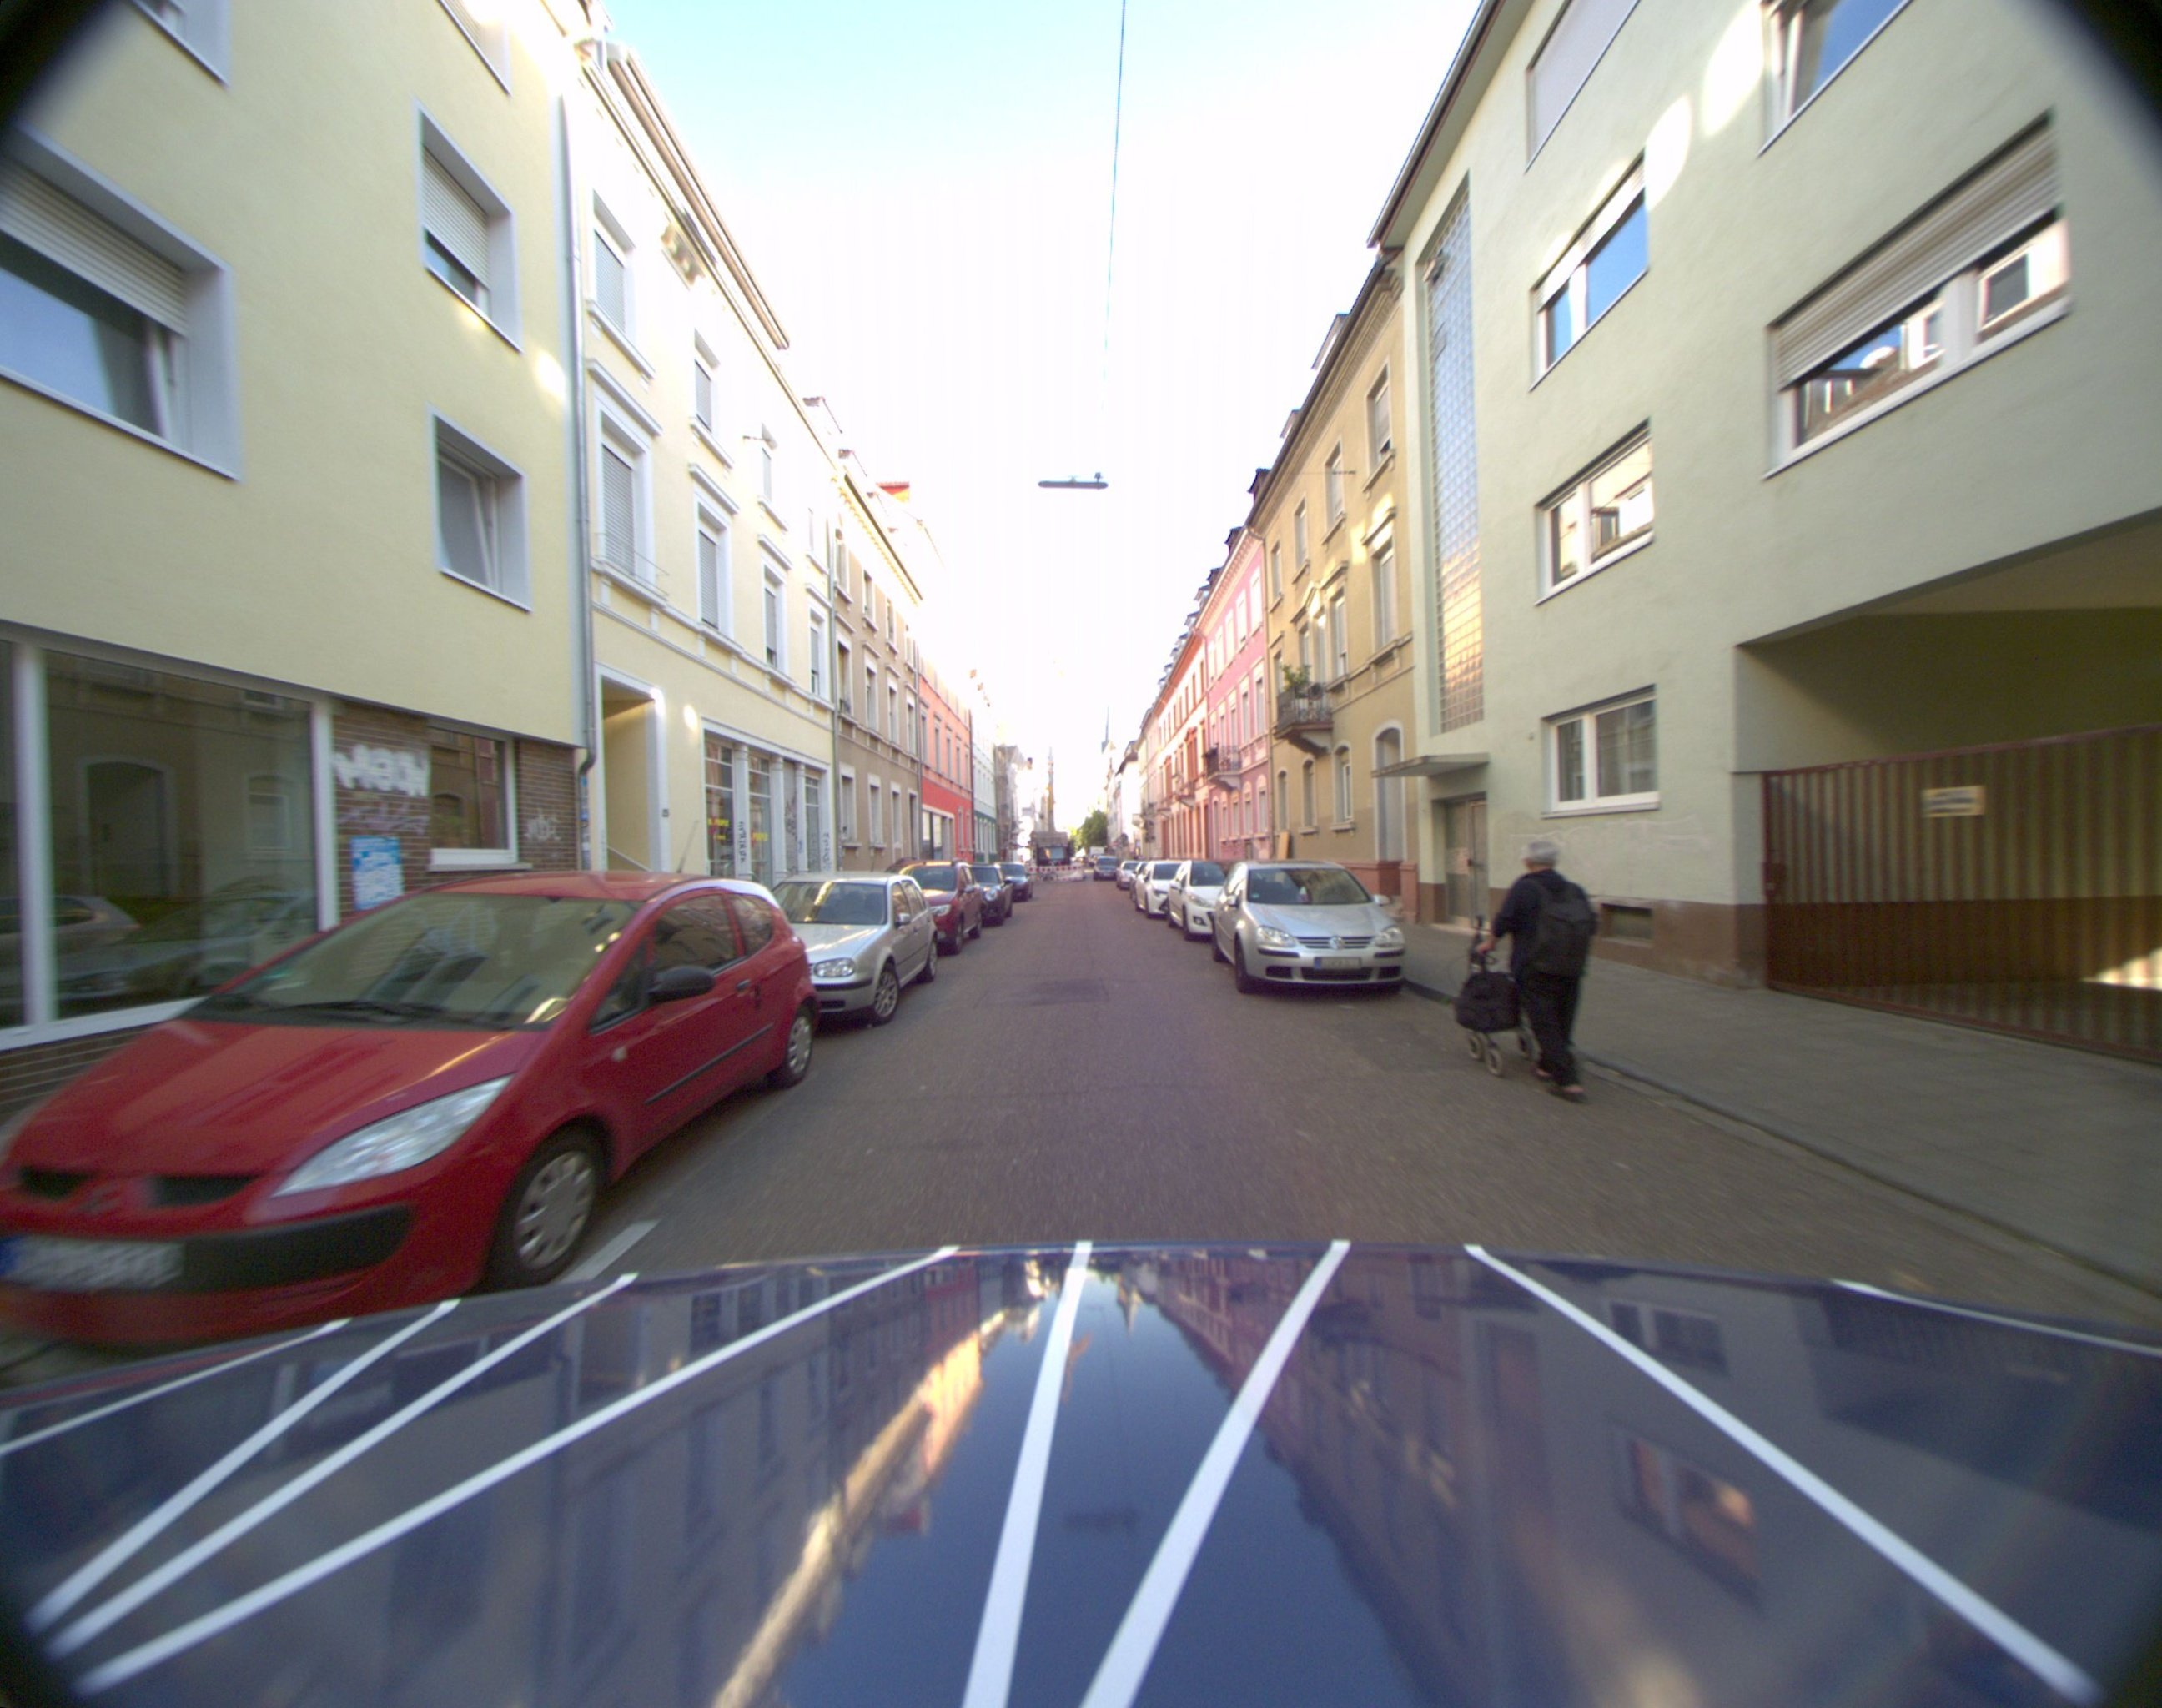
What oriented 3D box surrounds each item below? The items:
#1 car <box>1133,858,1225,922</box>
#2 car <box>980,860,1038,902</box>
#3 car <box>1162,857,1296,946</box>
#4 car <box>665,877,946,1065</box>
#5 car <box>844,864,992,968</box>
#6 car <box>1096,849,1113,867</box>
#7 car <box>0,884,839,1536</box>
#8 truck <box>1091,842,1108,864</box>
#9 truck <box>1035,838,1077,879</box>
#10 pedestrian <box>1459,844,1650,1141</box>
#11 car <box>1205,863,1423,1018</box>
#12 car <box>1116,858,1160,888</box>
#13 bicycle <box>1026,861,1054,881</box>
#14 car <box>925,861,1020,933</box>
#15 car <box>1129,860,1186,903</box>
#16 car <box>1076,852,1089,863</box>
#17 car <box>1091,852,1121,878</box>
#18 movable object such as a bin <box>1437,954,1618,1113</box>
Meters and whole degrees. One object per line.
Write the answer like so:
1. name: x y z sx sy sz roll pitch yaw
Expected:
1. car: 2.441 0.867 19.917 1.792 1.454 4.199 -1 0 -1
2. car: -2.740 0.989 29.796 1.831 1.474 4.464 -1 0 0
3. car: 2.736 0.818 14.907 1.794 1.443 4.000 -1 0 -1
4. car: -2.695 1.052 8.519 1.692 1.444 4.193 0 0 -1
5. car: -2.795 1.000 13.934 1.794 1.542 4.000 -1 0 0
6. car: 2.817 0.478 92.298 1.998 2.002 4.258 -1 0 1
7. car: -2.782 0.992 3.941 1.701 1.514 3.980 0 0 1
8. truck: 2.849 -0.168 120.939 2.524 3.271 6.642 -2 0 1
9. truck: -1.841 0.325 58.739 2.819 2.735 7.677 -3 0 -1
10. pedestrian: 2.923 0.808 4.754 0.715 1.698 0.672 -3 1 0
11. car: 2.593 0.870 9.410 1.684 1.446 4.034 0 0 3
12. car: 2.728 0.880 37.227 1.771 1.335 4.380 0 0 -1
13. bicycle: -2.605 1.084 48.432 1.713 1.130 0.470 -3 1 -11
14. car: -2.655 1.003 19.561 1.766 1.513 4.380 -2 0 0
15. car: 2.625 0.914 26.853 1.731 1.382 4.303 0 0 2
16. car: 0.229 0.582 125.693 1.999 1.749 4.255 -3 0 -1
17. car: 1.634 0.725 50.508 1.832 1.650 4.213 0 0 0
18. movable object such as a bin: 2.970 1.182 5.116 0.846 0.892 0.585 -3 1 1
